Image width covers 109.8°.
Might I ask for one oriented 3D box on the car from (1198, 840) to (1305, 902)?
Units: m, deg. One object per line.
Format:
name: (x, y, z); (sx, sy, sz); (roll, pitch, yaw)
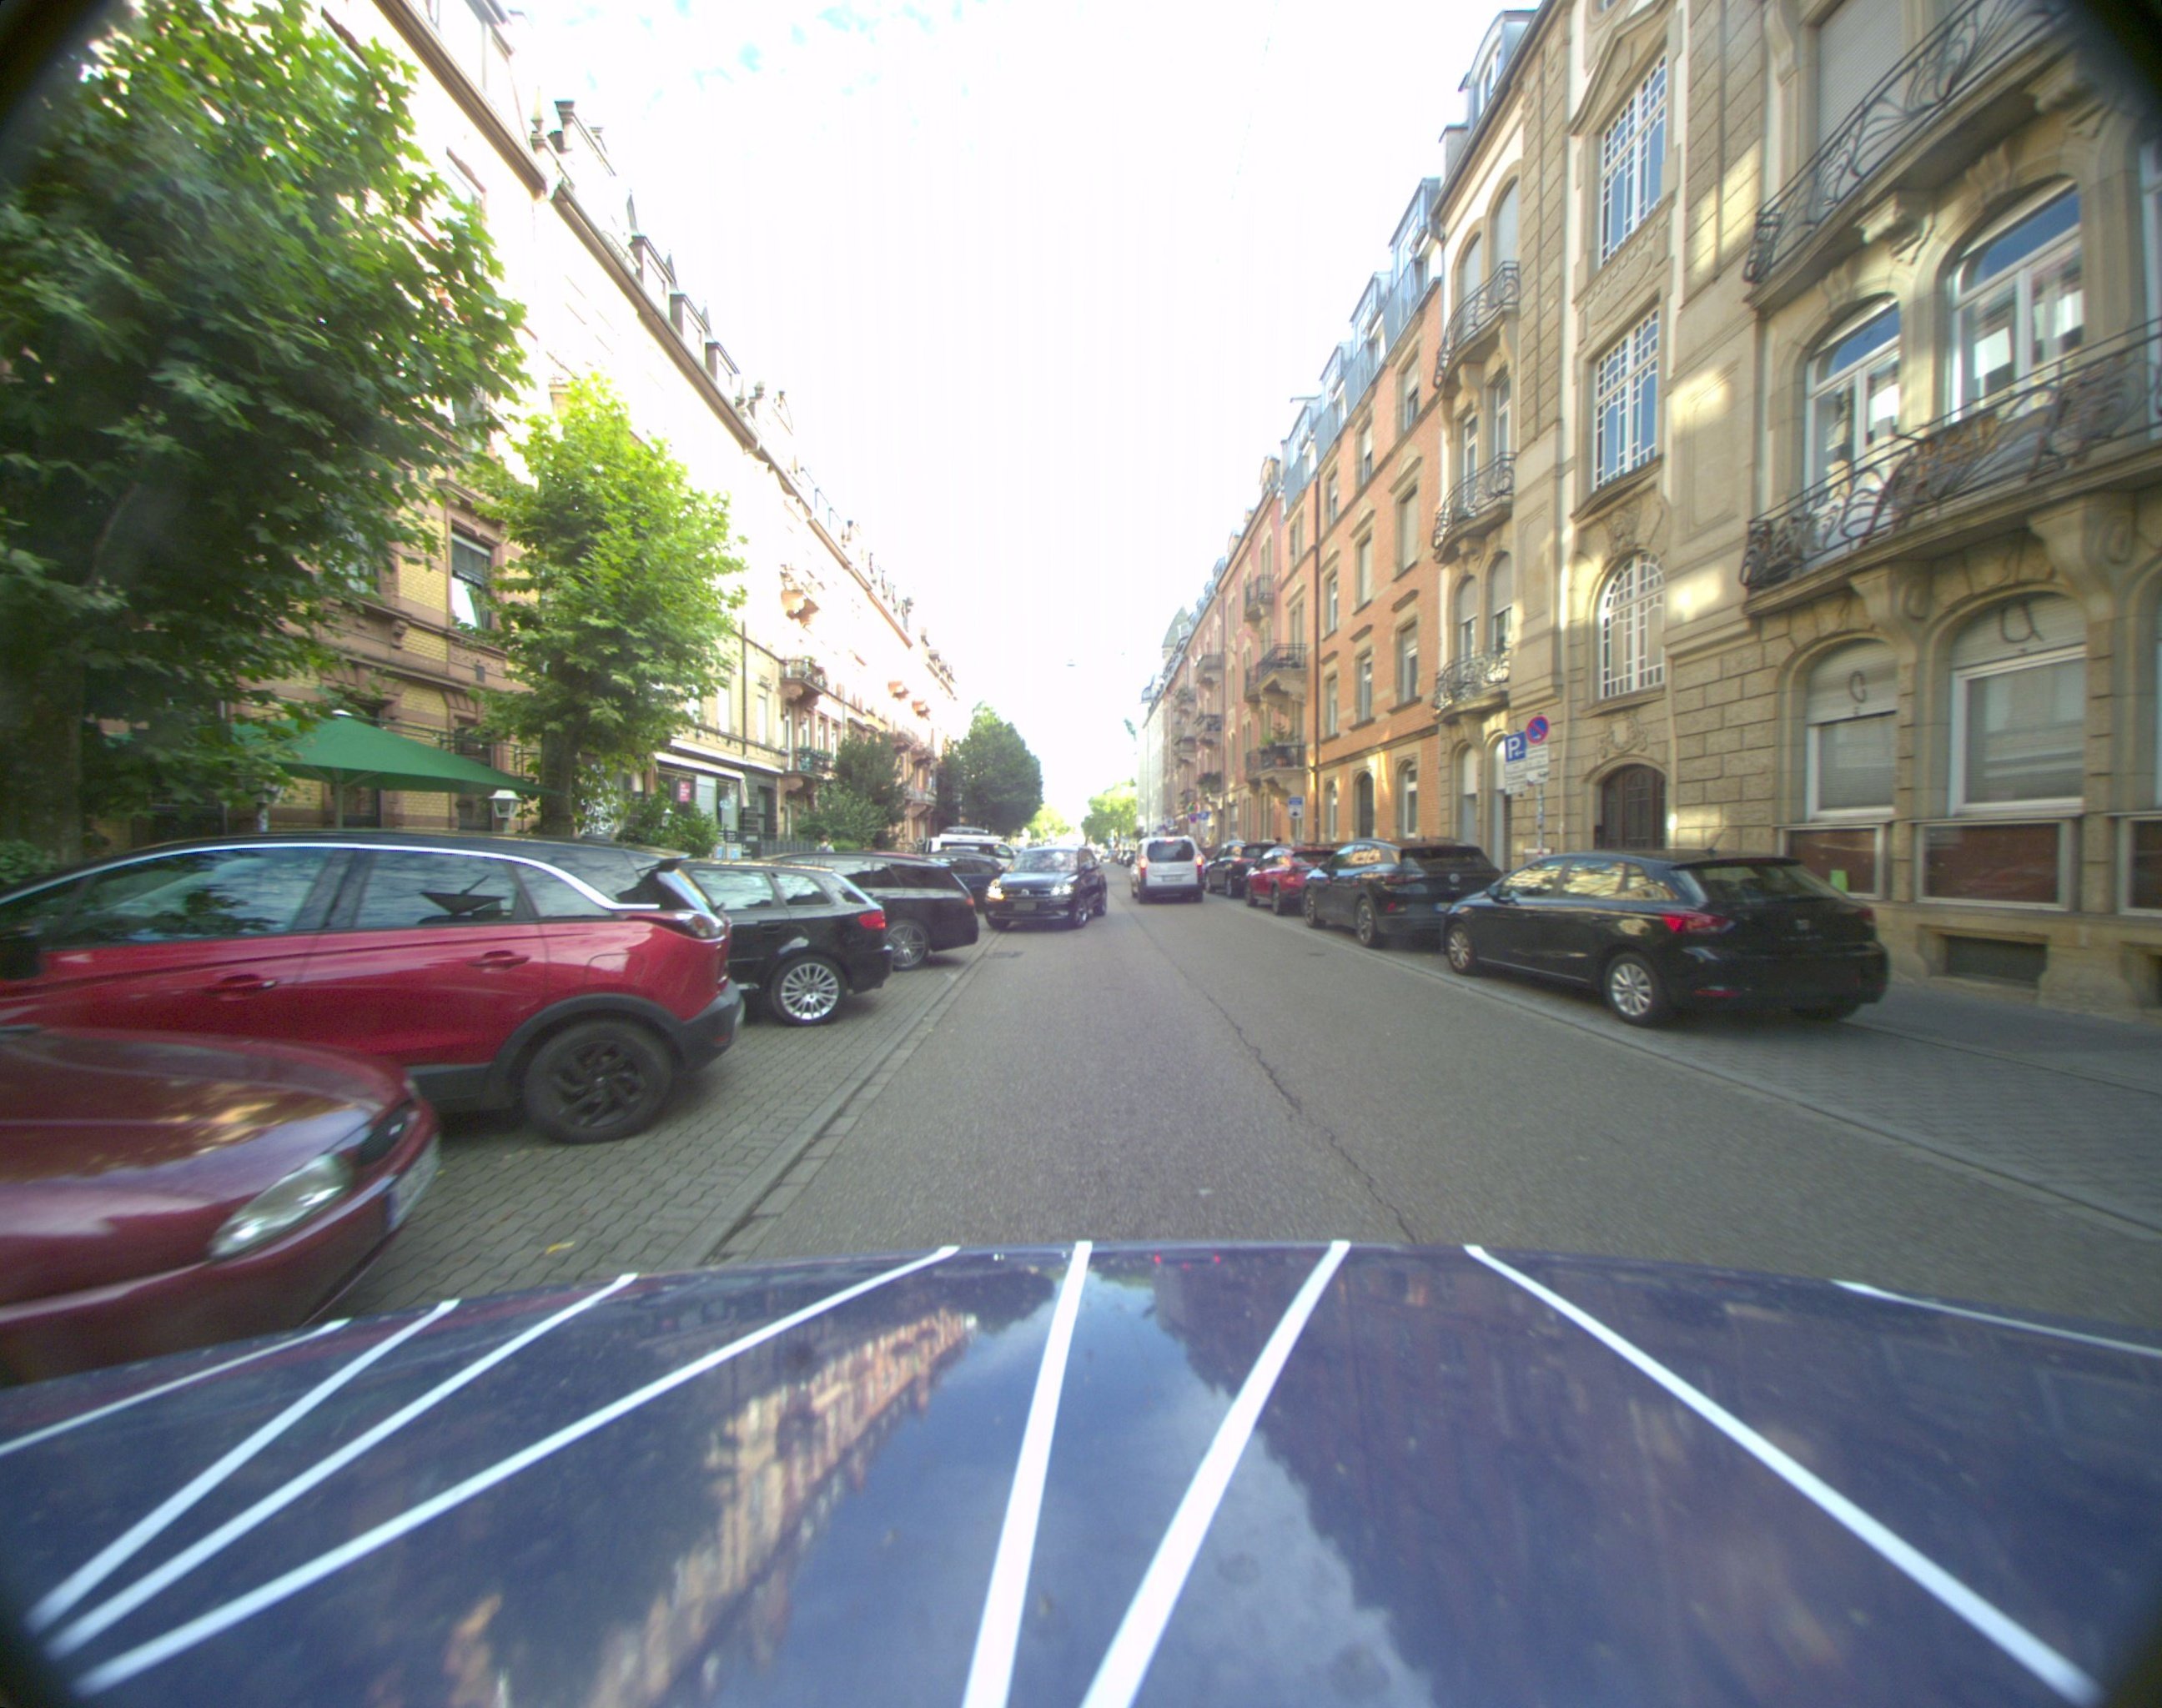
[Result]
car: (5.102, 0.462, 23.514); (1.878, 1.671, 4.892); (-2, 0, -4)

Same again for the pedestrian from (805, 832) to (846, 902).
pedestrian: (-6.903, 0.343, 20.577); (0.841, 1.867, 0.723); (0, 1, 4)

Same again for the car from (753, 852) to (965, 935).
car: (-4.429, 0.742, 15.406); (3.727, 1.476, 1.736); (1, 0, -38)

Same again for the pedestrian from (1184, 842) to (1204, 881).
pedestrian: (5.063, 0.333, 34.078); (0.566, 1.699, 0.666); (-2, 1, -35)

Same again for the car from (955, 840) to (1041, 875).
car: (-4.659, 0.231, 43.064); (4.649, 1.774, 1.810); (2, -1, -1)

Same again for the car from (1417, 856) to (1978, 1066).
car: (5.252, 0.757, 7.436); (1.999, 1.412, 4.243); (0, 1, -1)

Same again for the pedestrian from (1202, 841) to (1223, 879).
pedestrian: (5.881, 0.273, 33.988); (0.682, 1.651, 0.550); (-2, 1, -30)

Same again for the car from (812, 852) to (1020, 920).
car: (-3.898, 0.737, 18.287); (4.478, 1.456, 1.874); (2, -1, -35)

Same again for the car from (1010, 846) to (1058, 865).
car: (-4.284, 0.103, 69.752); (4.007, 1.689, 1.847); (0, 0, -35)

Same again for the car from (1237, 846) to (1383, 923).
car: (5.147, 0.604, 17.780); (1.999, 1.536, 4.425); (0, 1, -1)

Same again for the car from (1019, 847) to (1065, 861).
car: (-4.408, -0.001, 86.036); (4.817, 1.535, 1.865); (1, 1, -32)

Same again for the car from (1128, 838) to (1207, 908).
car: (2.453, 0.488, 22.536); (1.922, 1.818, 4.438); (-1, 1, 2)

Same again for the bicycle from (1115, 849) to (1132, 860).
bicycle: (4.776, 0.086, 86.212); (1.872, 1.168, 0.687); (-1, 1, 1)

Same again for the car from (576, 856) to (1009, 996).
car: (-3.563, 0.808, 9.869); (4.776, 1.448, 2.052); (2, -1, -28)

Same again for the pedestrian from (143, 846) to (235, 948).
pedestrian: (-11.029, 0.522, 9.411); (0.466, 1.212, 0.563); (2, 1, -9)

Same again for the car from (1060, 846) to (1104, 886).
car: (0.062, 0.490, 34.141); (1.811, 1.622, 4.000); (-2, 0, 1)

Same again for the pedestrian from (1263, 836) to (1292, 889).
pedestrian: (6.786, 0.286, 26.285); (0.758, 1.798, 0.863); (-2, 1, 3)

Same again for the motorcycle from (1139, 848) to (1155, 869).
motorcycle: (4.578, 0.285, 52.746); (0.708, 1.376, 2.025); (-1, 1, 14)

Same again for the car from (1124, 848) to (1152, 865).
car: (4.715, 0.199, 63.545); (1.817, 1.343, 5.114); (-1, 1, -1)

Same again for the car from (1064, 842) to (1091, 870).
car: (-0.209, 0.124, 56.375); (1.811, 1.914, 4.000); (-2, 0, 1)

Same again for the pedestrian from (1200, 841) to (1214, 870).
pedestrian: (7.416, 0.086, 44.723); (0.665, 1.686, 0.763); (-2, 1, 0)

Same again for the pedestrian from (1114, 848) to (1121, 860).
pedestrian: (4.252, -0.033, 87.913); (0.739, 1.341, 0.644); (-1, 1, 2)

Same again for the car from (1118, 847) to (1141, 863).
car: (4.639, 0.063, 73.405); (1.674, 1.407, 4.010); (-2, 1, -4)

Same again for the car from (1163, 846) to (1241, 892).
car: (4.508, 0.487, 29.169); (1.830, 1.569, 5.261); (-2, 1, -4)

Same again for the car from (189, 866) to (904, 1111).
car: (-3.952, 0.872, 6.557); (4.421, 1.448, 1.938); (0, 1, -25)

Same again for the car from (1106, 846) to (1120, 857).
car: (4.646, -0.389, 109.847); (1.828, 1.477, 4.169); (-1, 1, 0)

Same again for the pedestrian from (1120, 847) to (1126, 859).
pedestrian: (4.804, -0.082, 87.336); (0.689, 1.365, 0.739); (-1, 1, 3)

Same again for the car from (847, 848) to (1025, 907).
car: (-3.948, 0.661, 21.190); (4.479, 1.468, 1.884); (3, -1, -40)

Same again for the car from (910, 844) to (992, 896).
car: (-4.552, 0.569, 26.620); (2.473, 1.656, 1.344); (3, -1, -26)

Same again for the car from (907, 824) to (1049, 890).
car: (-3.968, 0.106, 29.707); (5.169, 2.391, 1.913); (0, 1, -33)

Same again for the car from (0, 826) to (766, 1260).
car: (-4.051, 0.723, 3.887); (4.361, 1.635, 1.817); (2, 0, -26)

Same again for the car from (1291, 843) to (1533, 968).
car: (4.973, 0.636, 12.308); (1.795, 1.619, 4.846); (0, 1, 0)

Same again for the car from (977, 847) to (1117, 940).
car: (-0.549, 0.725, 16.201); (1.873, 1.644, 4.390); (-1, 1, 12)

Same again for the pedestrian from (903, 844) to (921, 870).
pedestrian: (-10.106, 0.177, 45.423); (0.930, 1.488, 0.811); (1, 1, -7)

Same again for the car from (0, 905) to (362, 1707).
car: (-4.154, 0.943, 1.259); (3.950, 1.448, 1.765); (-1, 1, -28)

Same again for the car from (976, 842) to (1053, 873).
car: (-4.139, 0.222, 47.439); (4.412, 1.812, 1.750); (1, 1, -32)
